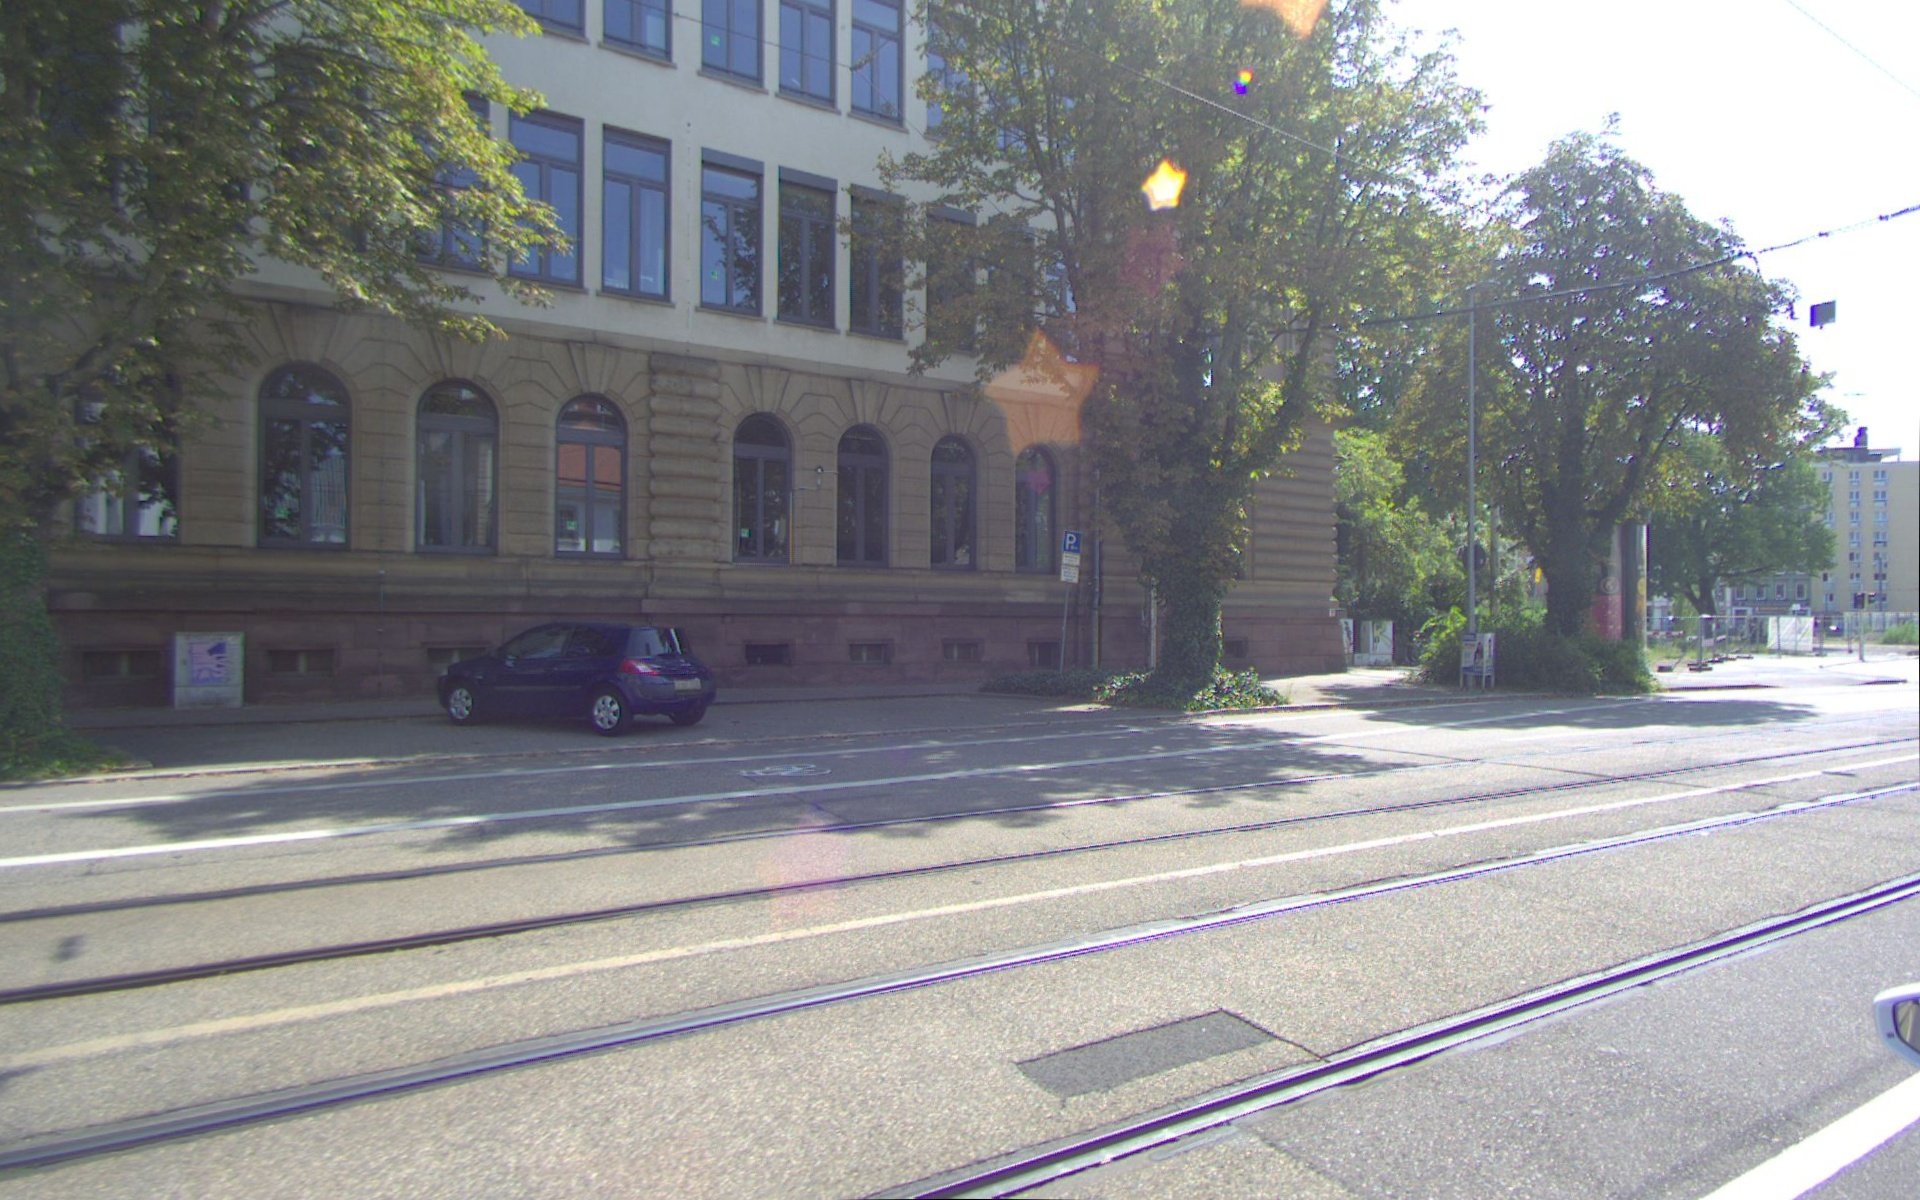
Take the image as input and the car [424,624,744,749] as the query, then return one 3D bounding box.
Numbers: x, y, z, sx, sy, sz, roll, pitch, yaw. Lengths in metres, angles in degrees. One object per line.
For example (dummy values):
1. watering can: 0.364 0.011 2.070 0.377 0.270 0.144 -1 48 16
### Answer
1. car: -5.252 1.111 14.023 4.084 1.516 1.820 -1 -1 24
